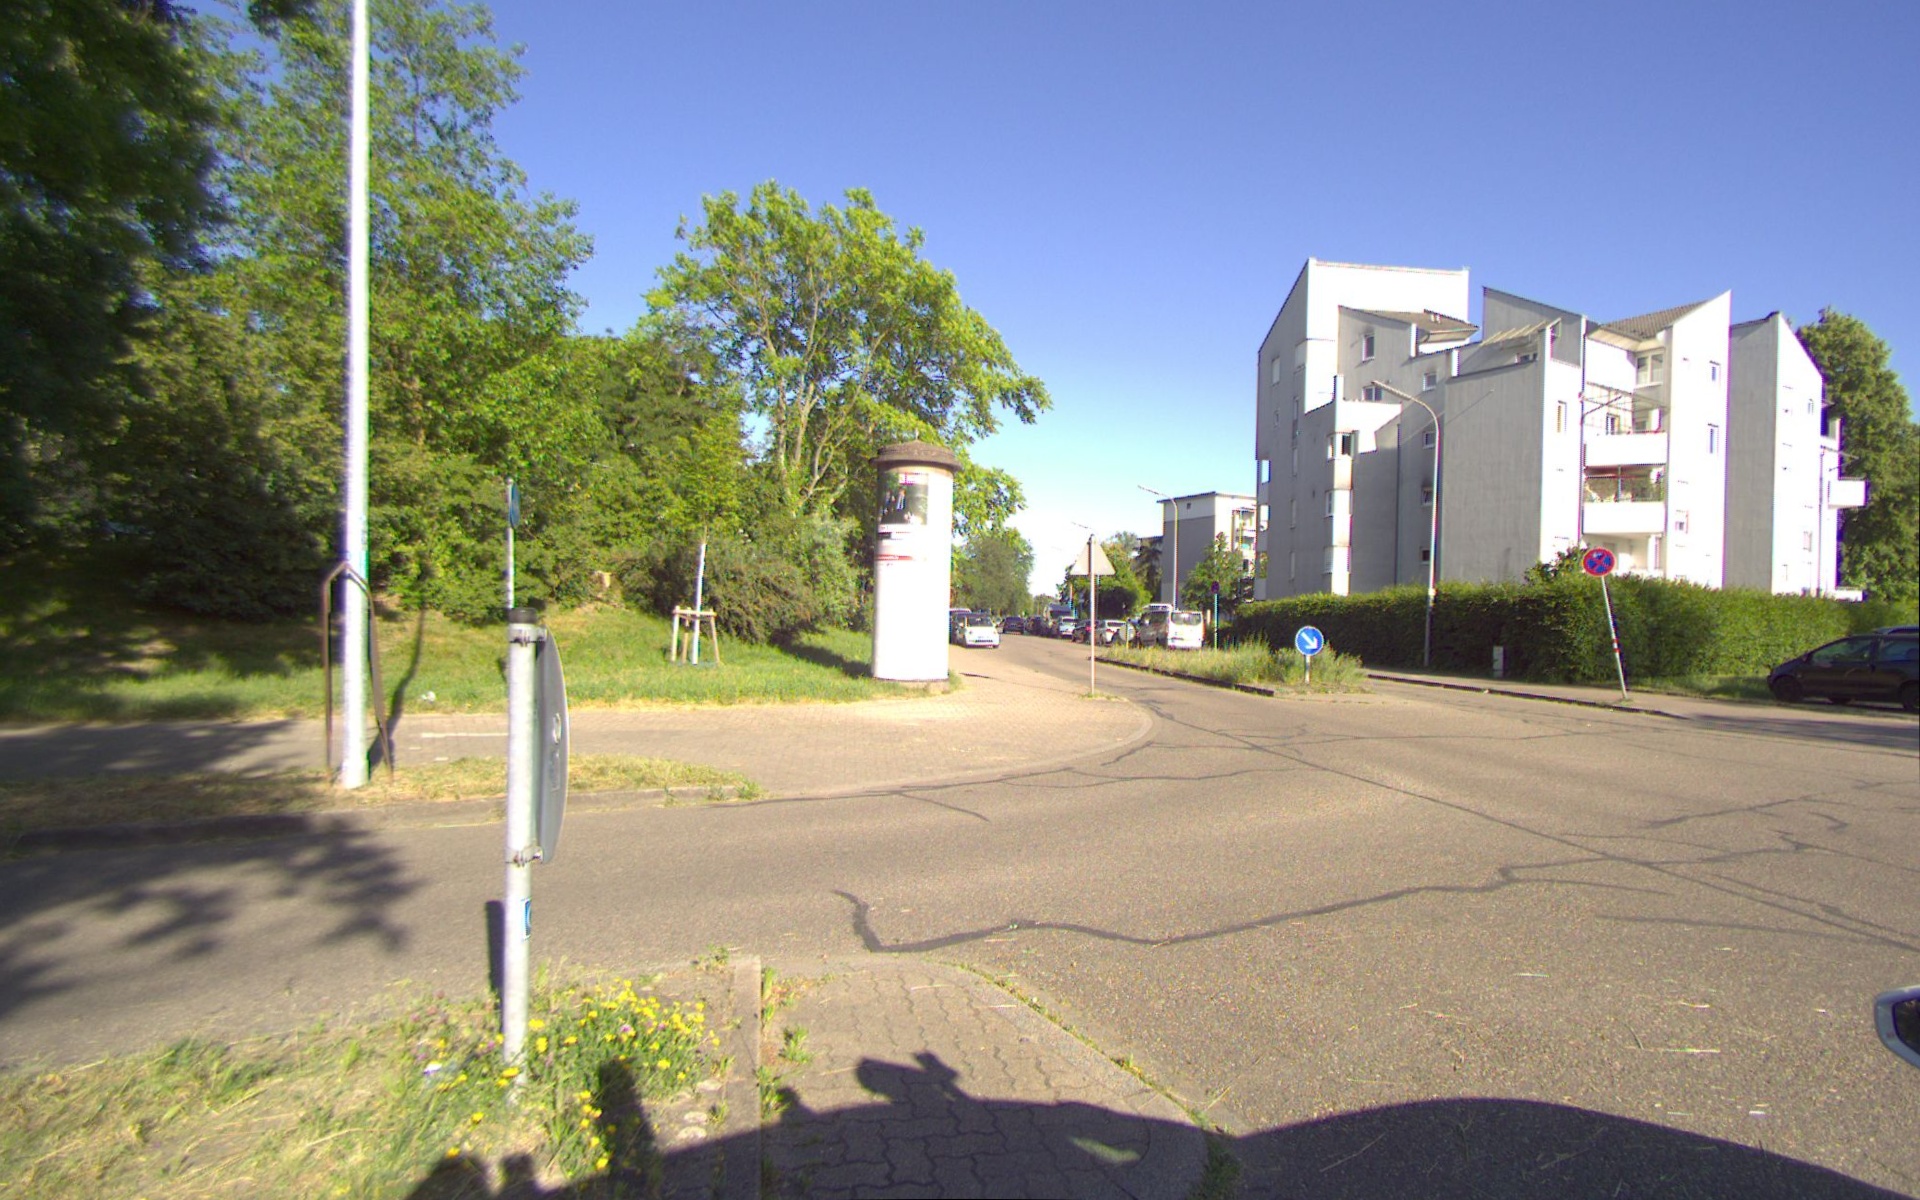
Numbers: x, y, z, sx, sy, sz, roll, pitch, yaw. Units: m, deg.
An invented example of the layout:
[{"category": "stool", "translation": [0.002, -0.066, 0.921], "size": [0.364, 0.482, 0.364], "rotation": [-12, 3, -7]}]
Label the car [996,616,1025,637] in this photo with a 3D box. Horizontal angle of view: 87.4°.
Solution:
[{"category": "car", "translation": [4.207, 2.178, 83.844], "size": [1.847, 1.665, 4.074], "rotation": [2, -1, -4]}]

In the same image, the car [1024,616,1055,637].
[{"category": "car", "translation": [6.605, 2.204, 83.677], "size": [1.879, 1.688, 4.372], "rotation": [2, -1, -4]}]

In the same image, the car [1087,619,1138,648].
[{"category": "car", "translation": [8.498, 1.834, 56.332], "size": [1.879, 1.508, 4.372], "rotation": [2, -1, -4]}]

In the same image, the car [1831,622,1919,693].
[{"category": "car", "translation": [23.595, 1.351, 23.211], "size": [1.759, 1.676, 4.979], "rotation": [1, -1, -24]}]

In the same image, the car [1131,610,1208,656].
[{"category": "car", "translation": [9.502, 1.454, 45.956], "size": [1.963, 1.937, 4.949], "rotation": [2, -1, -6]}]

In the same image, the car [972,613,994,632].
[{"category": "car", "translation": [2.212, 2.126, 96.543], "size": [1.881, 1.728, 4.185], "rotation": [1, -1, -2]}]

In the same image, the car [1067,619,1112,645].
[{"category": "car", "translation": [7.941, 1.928, 61.989], "size": [1.879, 1.508, 4.372], "rotation": [2, -1, -4]}]

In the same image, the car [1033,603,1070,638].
[{"category": "car", "translation": [6.941, 1.567, 76.779], "size": [2.071, 2.519, 5.855], "rotation": [3, -1, -2]}]

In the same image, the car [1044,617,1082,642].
[{"category": "car", "translation": [7.284, 2.052, 71.146], "size": [1.879, 1.688, 4.372], "rotation": [2, -1, -4]}]

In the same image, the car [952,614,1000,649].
[{"category": "car", "translation": [0.726, 1.444, 47.149], "size": [1.602, 1.548, 3.413], "rotation": [1, -1, -11]}]

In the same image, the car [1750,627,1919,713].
[{"category": "car", "translation": [18.047, 1.324, 19.878], "size": [1.674, 1.486, 3.525], "rotation": [1, 0, -13]}]

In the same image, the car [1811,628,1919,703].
[{"category": "car", "translation": [20.323, 1.362, 20.922], "size": [1.624, 1.516, 3.679], "rotation": [1, -1, -17]}]
